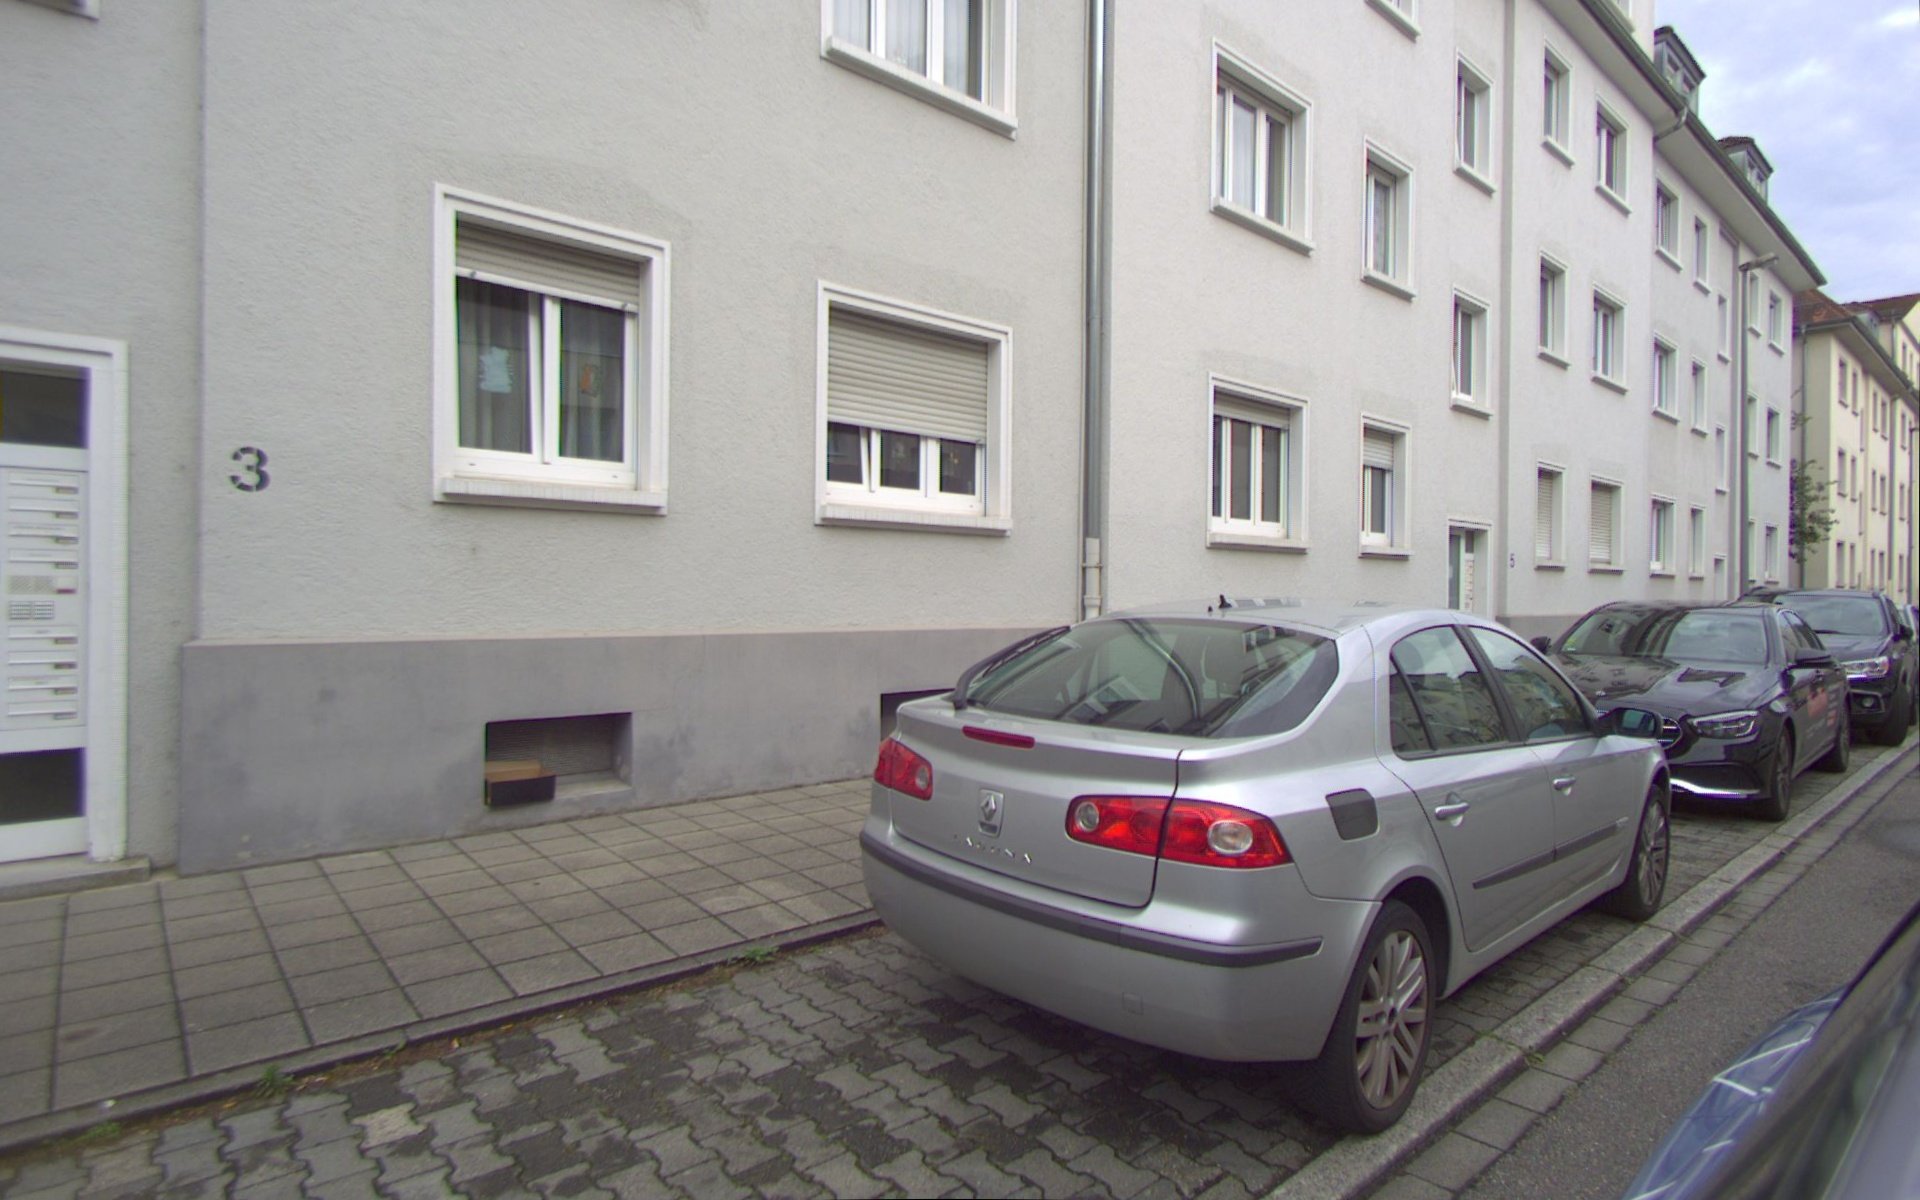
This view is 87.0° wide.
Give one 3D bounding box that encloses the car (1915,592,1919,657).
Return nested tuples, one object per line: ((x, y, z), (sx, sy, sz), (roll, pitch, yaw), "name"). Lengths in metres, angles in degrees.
((25.179, 0.599, 25.247), (3.615, 1.566, 1.735), (0, 1, -43), "car")

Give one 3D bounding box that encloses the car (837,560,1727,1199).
((1.758, 0.637, 4.368), (4.355, 1.481, 1.735), (0, 1, -43), "car")

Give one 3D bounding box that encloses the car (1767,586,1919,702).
((13.502, 0.576, 15.046), (3.691, 1.505, 1.735), (0, 1, -41), "car")

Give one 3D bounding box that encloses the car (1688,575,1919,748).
((9.940, 0.567, 11.562), (4.089, 1.619, 1.850), (0, 1, -43), "car")

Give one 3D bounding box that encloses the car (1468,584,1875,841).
((5.796, 0.653, 8.021), (4.249, 1.481, 1.784), (0, 1, -43), "car")
